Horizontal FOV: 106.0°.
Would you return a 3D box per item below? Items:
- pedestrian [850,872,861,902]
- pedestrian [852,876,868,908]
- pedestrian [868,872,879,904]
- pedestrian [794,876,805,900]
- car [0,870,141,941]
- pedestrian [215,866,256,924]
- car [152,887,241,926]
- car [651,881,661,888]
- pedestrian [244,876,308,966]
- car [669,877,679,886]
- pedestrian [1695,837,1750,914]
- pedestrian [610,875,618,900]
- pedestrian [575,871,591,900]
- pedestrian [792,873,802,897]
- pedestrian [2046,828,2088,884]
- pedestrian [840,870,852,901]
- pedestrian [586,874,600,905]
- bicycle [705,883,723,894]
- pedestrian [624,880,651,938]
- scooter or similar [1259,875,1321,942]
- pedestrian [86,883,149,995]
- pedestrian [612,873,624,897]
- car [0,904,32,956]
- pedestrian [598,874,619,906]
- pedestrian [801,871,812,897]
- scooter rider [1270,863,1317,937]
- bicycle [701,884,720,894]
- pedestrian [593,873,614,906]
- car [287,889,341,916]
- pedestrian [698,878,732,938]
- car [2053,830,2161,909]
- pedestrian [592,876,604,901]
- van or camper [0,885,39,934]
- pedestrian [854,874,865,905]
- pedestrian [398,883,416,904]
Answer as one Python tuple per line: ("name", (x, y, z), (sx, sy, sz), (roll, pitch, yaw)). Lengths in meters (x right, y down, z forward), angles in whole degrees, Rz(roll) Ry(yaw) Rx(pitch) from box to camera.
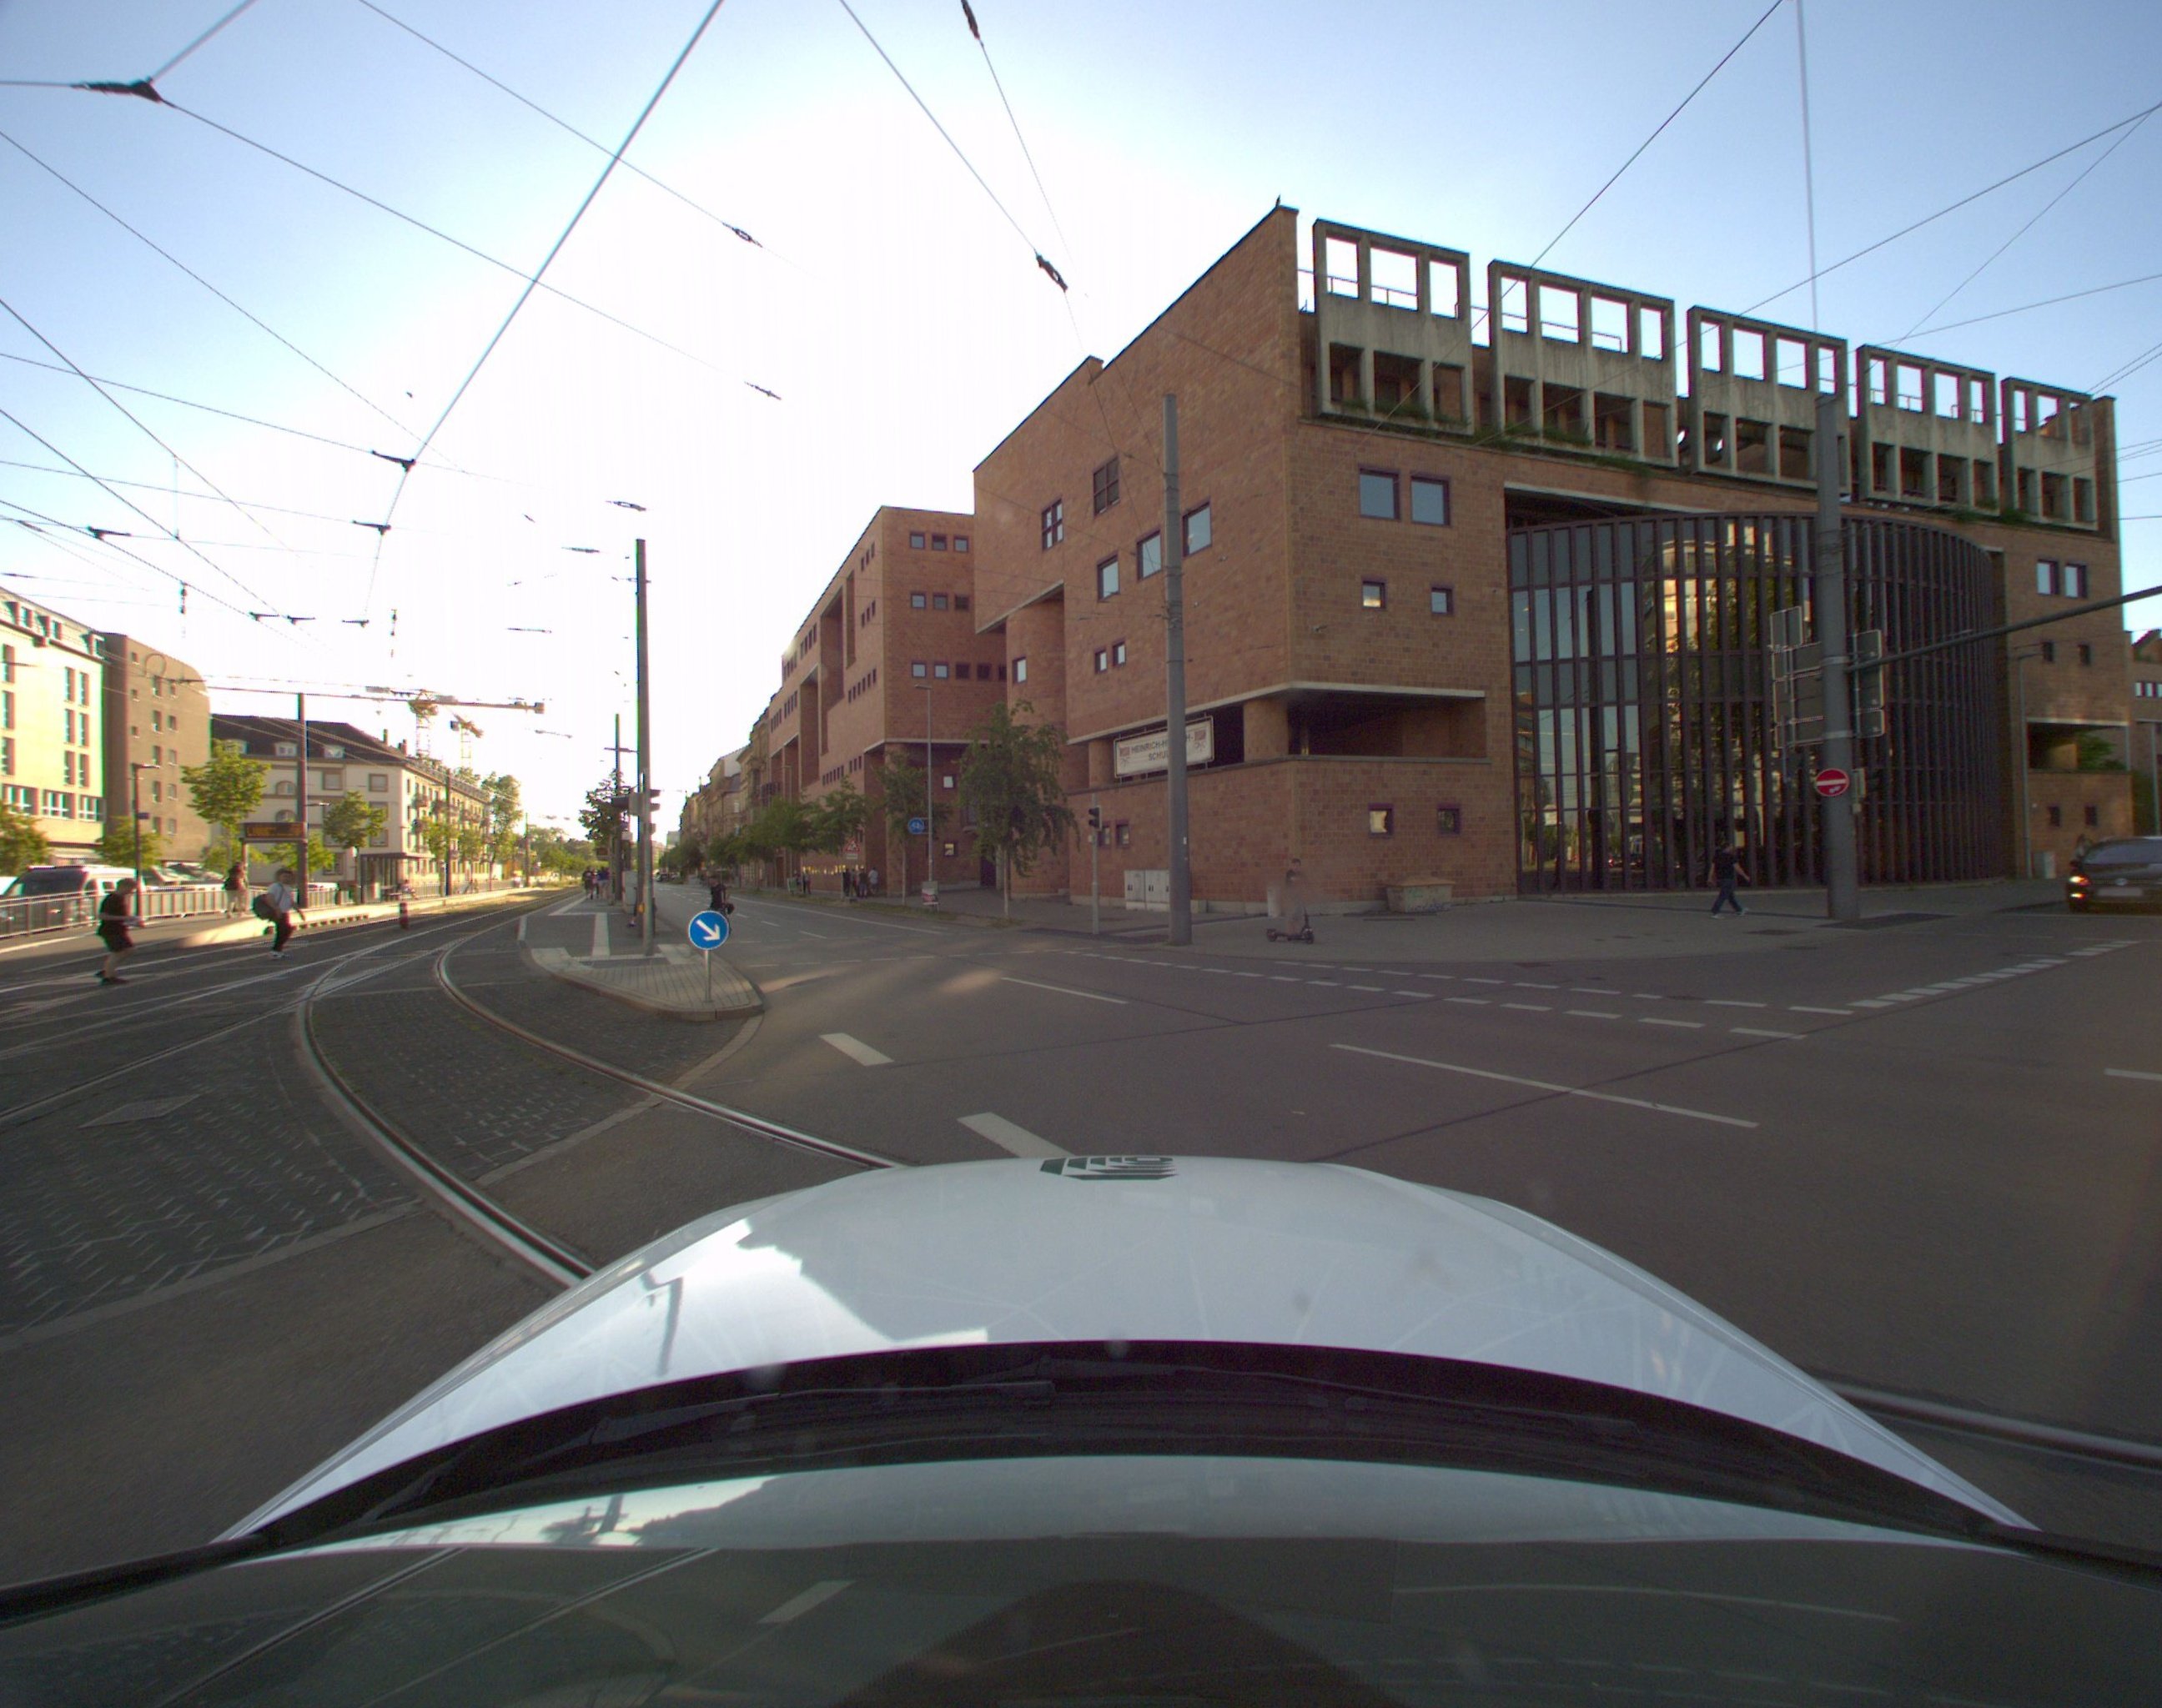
("pedestrian", (-13.324, 1.924, 48.178), (0.539, 1.756, 0.418), (-1, -2, -29))
("pedestrian", (-12.266, 2.096, 45.267), (0.732, 1.756, 0.694), (-1, -1, -7))
("pedestrian", (-11.724, 1.916, 46.034), (0.538, 1.756, 0.691), (-1, -1, -19))
("pedestrian", (-19.269, 2.328, 55.762), (0.520, 1.605, 0.697), (-1, -2, -36))
("car", (-37.098, 1.814, 29.801), (2.058, 2.358, 4.872), (-1, -1, -30))
("pedestrian", (-24.884, 1.193, 23.978), (0.680, 1.684, 0.571), (-1, -1, -25))
("car", (-48.475, 2.849, 44.763), (1.896, 1.867, 4.278), (-1, 0, -27))
("car", (-94.389, 6.850, 180.965), (1.860, 1.457, 4.118), (-1, 0, -28))
("pedestrian", (-16.042, 1.306, 16.249), (0.642, 1.718, 0.772), (-1, -1, -21))
("car", (-78.134, 5.269, 156.378), (1.646, 1.486, 4.174), (-3, 1, -27))
("pedestrian", (14.834, 0.490, 18.824), (0.668, 1.716, 0.814), (-1, -2, -39))
("pedestrian", (-33.547, 2.409, 58.491), (0.508, 1.732, 0.645), (-1, -2, -30))
("pedestrian", (-25.664, 1.605, 41.986), (0.687, 1.483, 0.820), (0, -2, -31))
("pedestrian", (-20.773, 2.254, 59.527), (0.541, 1.756, 0.416), (0, -2, -44))
("pedestrian", (35.726, 0.077, 29.519), (0.762, 2.014, 0.889), (-1, -2, -39))
("pedestrian", (-13.661, 1.817, 47.291), (0.540, 1.756, 0.460), (-1, -2, -31))
("pedestrian", (-26.553, 1.940, 44.310), (0.661, 1.672, 0.665), (-1, -1, -31))
("bicycle", (-43.831, 4.096, 97.199), (1.839, 1.064, 0.656), (-4, 1, -35))
("pedestrian", (-12.009, 1.481, 22.062), (0.490, 1.539, 0.548), (-1, -1, -15))
("scooter or similar", (4.308, 1.103, 16.818), (0.532, 1.318, 1.119), (-1, -2, -38))
("pedestrian", (-15.429, 1.336, 13.058), (0.740, 1.702, 0.628), (-3, -2, 42))
("pedestrian", (-31.485, 2.117, 55.419), (0.677, 1.562, 0.897), (-1, -1, -30))
("car", (-33.339, 2.342, 23.858), (1.898, 1.532, 3.960), (-1, 0, -31))
("pedestrian", (-25.328, 1.914, 43.645), (0.893, 1.672, 1.085), (-1, -1, -31))
("pedestrian", (-19.021, 2.075, 56.463), (0.575, 1.713, 0.634), (-1, -2, -35))
("scooter rider", (4.364, 0.934, 16.746), (0.510, 1.461, 0.714), (-1, -2, -37))
("bicycle", (-43.566, 4.087, 95.784), (1.839, 1.064, 0.656), (-4, 1, -35))
("pedestrian", (-24.651, 1.813, 42.058), (0.893, 1.672, 0.665), (-1, -1, -31))
("car", (-64.429, 4.068, 68.463), (2.002, 2.013, 4.114), (-1, 0, -24))
("pedestrian", (-9.790, 1.420, 21.766), (0.717, 1.539, 0.843), (-1, -1, -30))
("car", (24.505, 0.307, 18.686), (4.511, 1.654, 1.823), (-1, -2, -27))
("pedestrian", (-34.221, 2.423, 57.736), (0.724, 1.732, 0.645), (-1, -2, -30))
("van or camper", (-50.228, 2.608, 36.625), (2.005, 2.169, 5.565), (-1, 1, -28))
("pedestrian", (-12.673, 2.020, 46.648), (0.538, 1.756, 0.691), (-1, -1, -19))
("pedestrian", (-40.811, 2.382, 49.338), (0.677, 1.190, 0.897), (-1, -1, -30))
